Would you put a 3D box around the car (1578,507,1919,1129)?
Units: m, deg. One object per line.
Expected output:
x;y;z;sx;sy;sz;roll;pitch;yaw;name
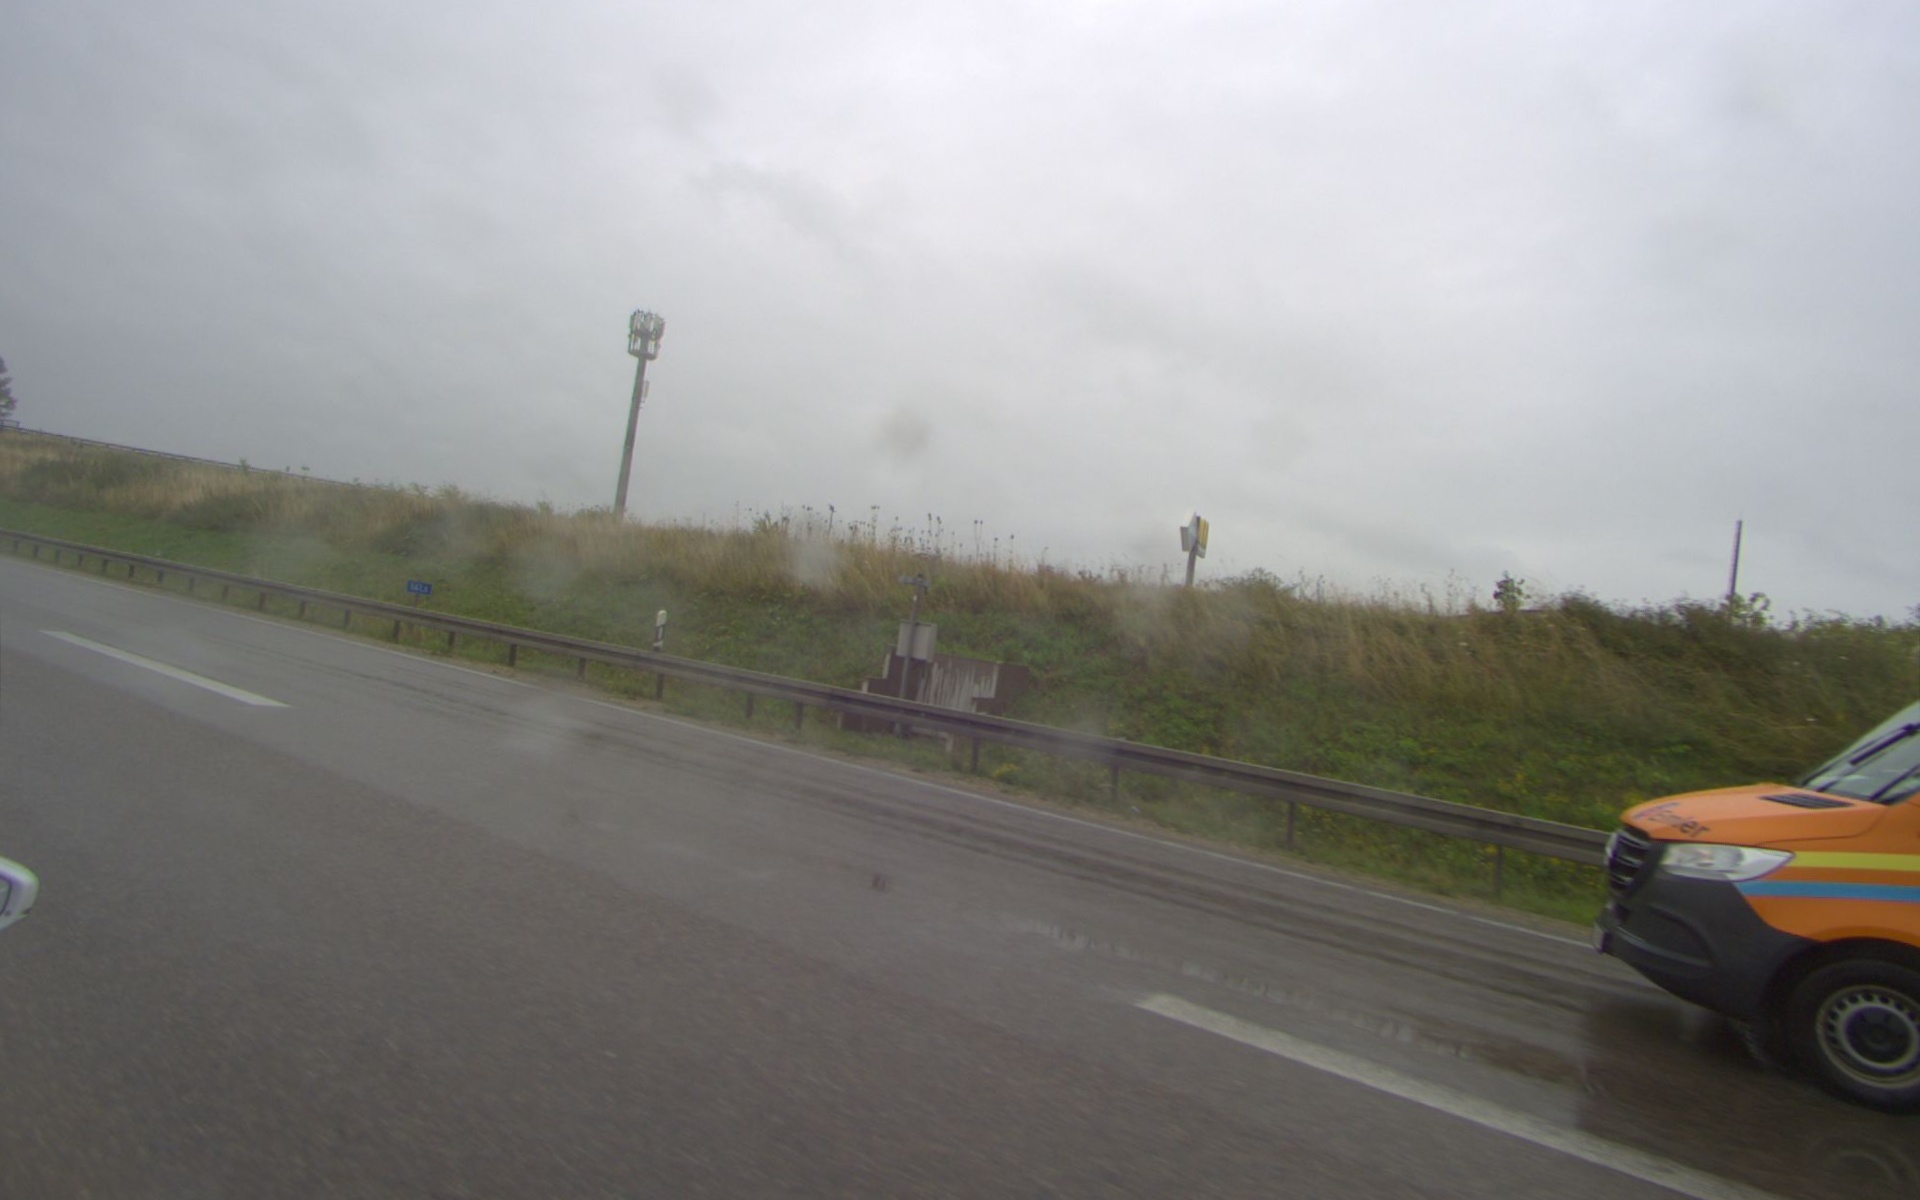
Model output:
6.773;1.320;4.195;6.767;2.644;2.067;7;-2;28;car
